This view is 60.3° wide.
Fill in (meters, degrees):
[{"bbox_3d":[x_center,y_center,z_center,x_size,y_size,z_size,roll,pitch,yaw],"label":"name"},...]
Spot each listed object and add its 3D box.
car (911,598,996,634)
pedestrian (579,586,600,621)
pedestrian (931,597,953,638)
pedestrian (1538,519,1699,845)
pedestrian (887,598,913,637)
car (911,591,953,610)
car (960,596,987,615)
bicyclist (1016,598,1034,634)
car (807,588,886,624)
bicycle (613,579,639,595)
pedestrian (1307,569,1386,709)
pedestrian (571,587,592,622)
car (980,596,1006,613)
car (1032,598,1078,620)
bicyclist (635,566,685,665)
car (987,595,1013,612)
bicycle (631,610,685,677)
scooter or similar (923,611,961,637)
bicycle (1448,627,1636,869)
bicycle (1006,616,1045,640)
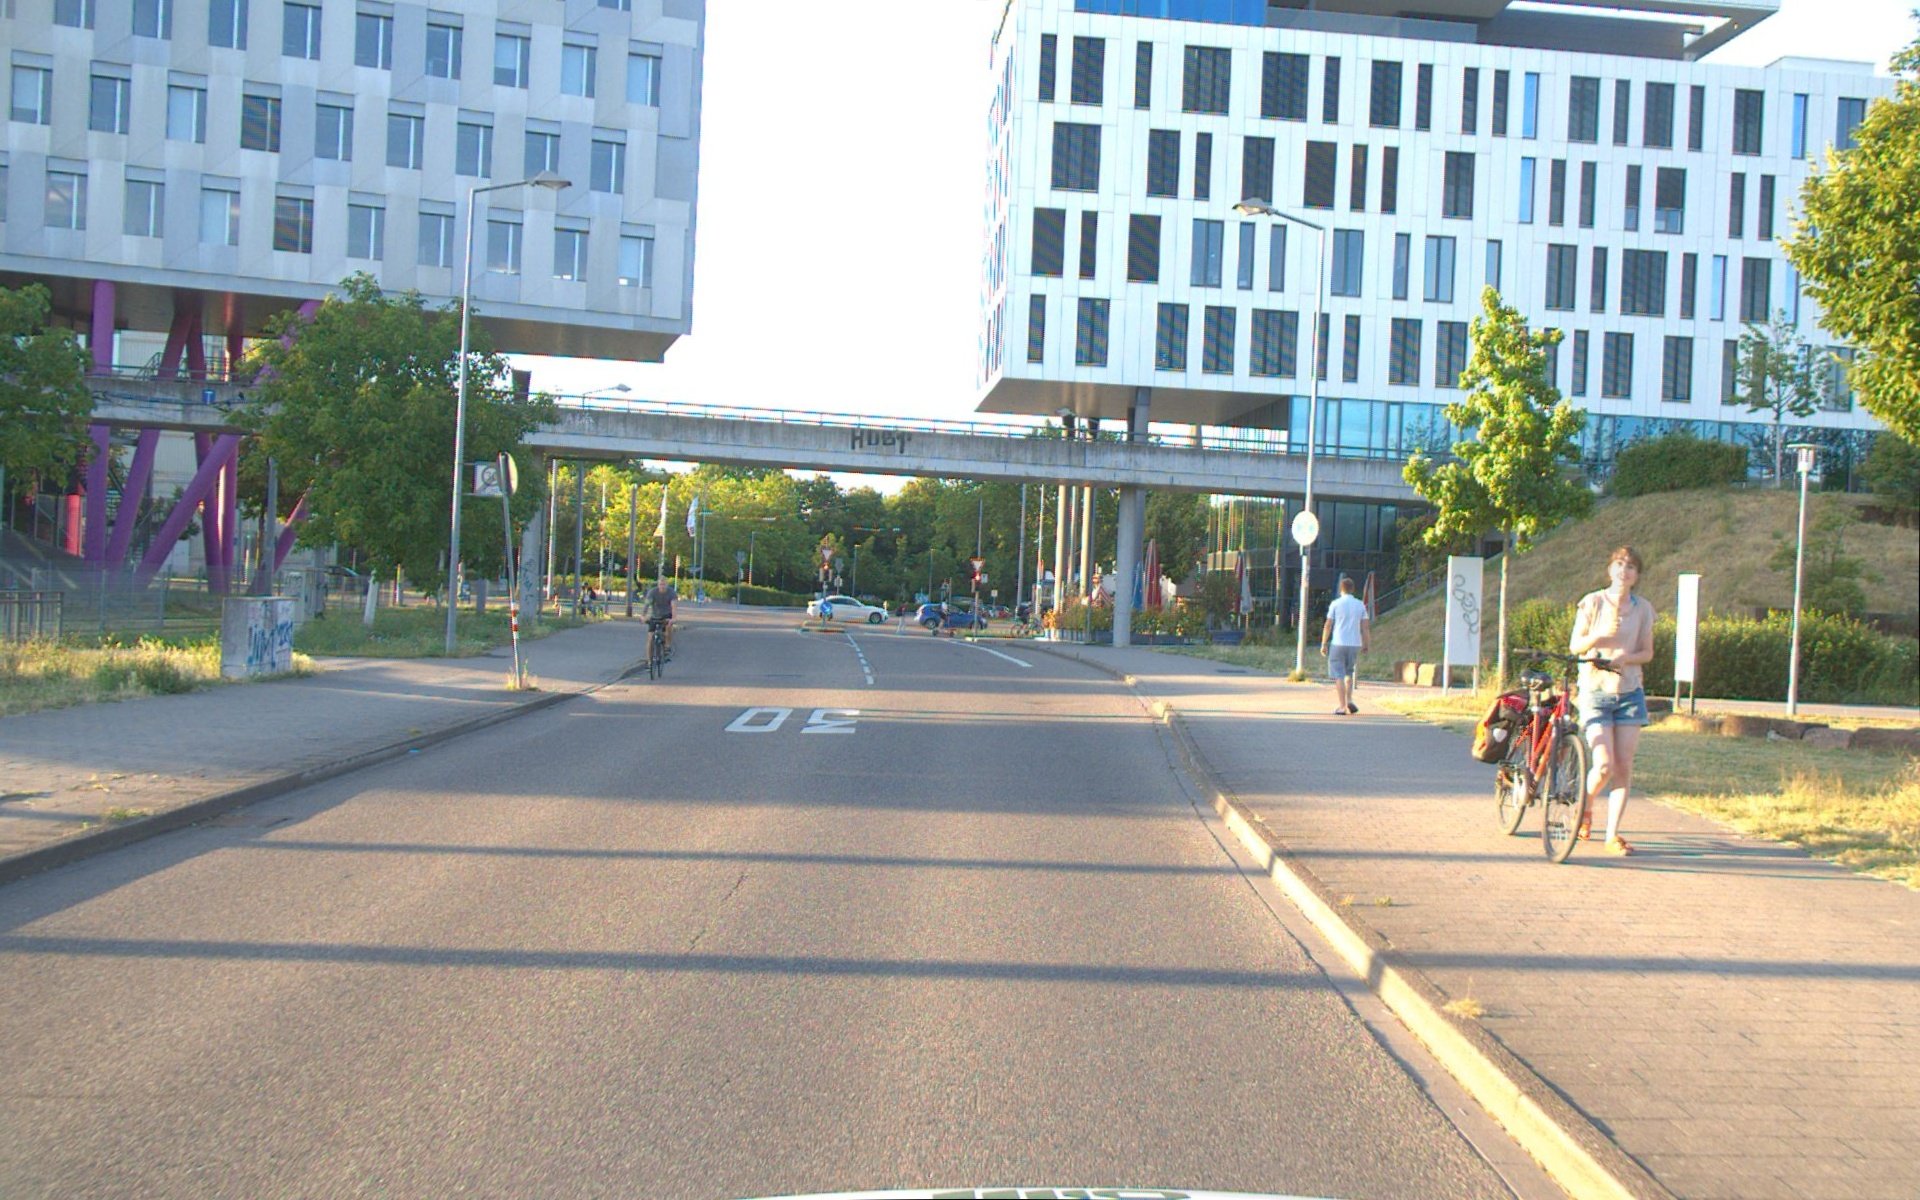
[{"bbox_3d":[-0.386,0.930,95.998,4.632,1.860,1.887,2,1,-13],"label":"car"},{"bbox_3d":[-18.130,0.164,80.878,0.685,1.693,0.712,3,1,13],"label":"pedestrian"},{"bbox_3d":[-0.914,0.879,84.618,0.893,2.025,0.769,2,1,-12],"label":"pedestrian"},{"bbox_3d":[3.894,0.456,9.832,0.582,1.833,0.818,2,1,3],"label":"pedestrian"},{"bbox_3d":[-2.967,0.870,81.563,1.037,1.865,0.891,2,1,-17],"label":"pedestrian"},{"bbox_3d":[-3.228,0.067,191.997,4.587,1.901,2.014,3,1,2],"label":"car"},{"bbox_3d":[1.334,0.511,165.190,1.467,1.791,3.403,3,1,22],"label":"car"},{"bbox_3d":[3.336,0.819,84.575,0.843,1.761,0.605,2,1,0],"label":"bicyclist"},{"bbox_3d":[-6.725,0.364,98.328,4.594,1.860,1.834,2,1,-3],"label":"car"},{"bbox_3d":[-26.813,-1.047,132.859,1.941,1.148,0.555,2,1,-30],"label":"bicycle"},{"bbox_3d":[5.147,0.500,22.078,0.814,1.797,0.818,2,1,3],"label":"pedestrian"},{"bbox_3d":[-18.334,0.210,80.118,0.671,1.652,0.712,3,1,13],"label":"pedestrian"},{"bbox_3d":[3.430,0.412,169.460,1.467,1.634,3.403,3,1,22],"label":"car"},{"bbox_3d":[9.130,0.857,159.147,4.375,1.848,1.946,3,1,1],"label":"car"},{"bbox_3d":[-5.281,0.259,29.161,0.602,1.691,1.036,2,1,1],"label":"bicyclist"},{"bbox_3d":[4.188,0.364,173.080,1.467,1.634,3.403,3,1,22],"label":"car"},{"bbox_3d":[-5.296,0.750,29.080,0.527,1.061,1.925,2,1,1],"label":"bicycle"},{"bbox_3d":[-0.919,1.232,84.635,1.827,1.194,0.762,2,1,-13],"label":"scooter or similar"},{"bbox_3d":[3.384,0.803,9.771,0.440,1.189,1.942,2,1,2],"label":"bicycle"},{"bbox_3d":[3.354,1.452,84.593,1.930,1.111,0.622,3,1,0],"label":"bicycle"}]
